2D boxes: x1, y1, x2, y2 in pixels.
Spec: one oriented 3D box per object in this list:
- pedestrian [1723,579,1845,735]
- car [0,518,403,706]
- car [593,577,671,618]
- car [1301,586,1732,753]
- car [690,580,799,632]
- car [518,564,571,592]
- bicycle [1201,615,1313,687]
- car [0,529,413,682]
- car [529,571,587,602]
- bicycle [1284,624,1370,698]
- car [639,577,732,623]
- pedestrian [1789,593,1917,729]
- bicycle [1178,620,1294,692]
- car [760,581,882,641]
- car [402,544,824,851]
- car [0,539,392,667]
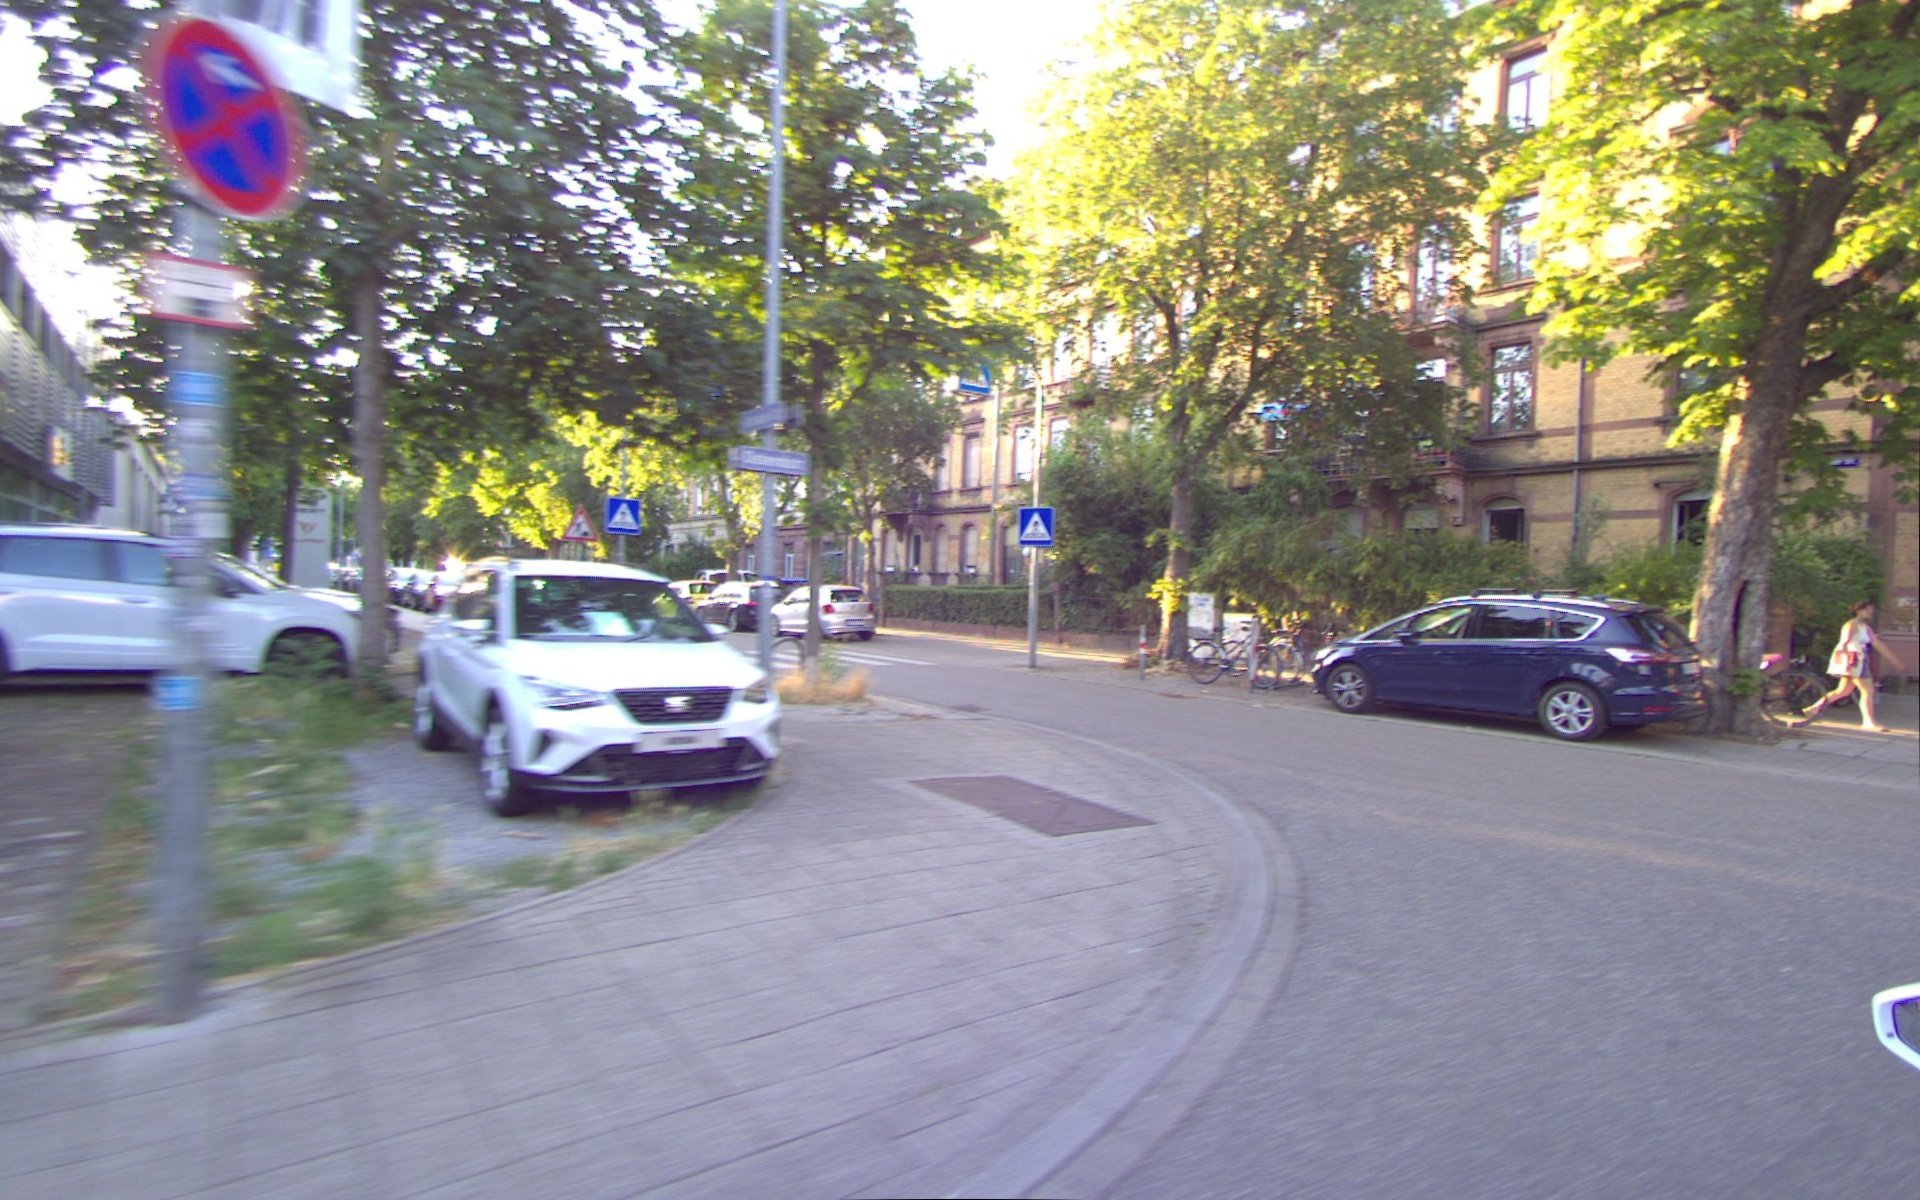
[{"bbox_3d":[10.405,0.692,12.722,0.991,1.859,0.687,3,1,27],"label":"pedestrian"},{"bbox_3d":[-8.379,0.097,10.184,4.551,1.665,1.852,1,1,-38],"label":"car"},{"bbox_3d":[-12.845,-0.123,39.220,1.604,1.461,4.058,0,2,-39],"label":"car"},{"bbox_3d":[6.980,0.719,13.090,1.855,1.710,4.542,0,1,-37],"label":"car"},{"bbox_3d":[-6.785,0.130,31.310,1.604,1.461,4.262,0,2,-39],"label":"car"},{"bbox_3d":[-22.357,-1.195,54.003,1.604,1.461,4.058,0,2,-39],"label":"car"},{"bbox_3d":[5.166,0.863,17.552,1.783,1.108,0.602,3,3,43],"label":"bicycle"},{"bbox_3d":[-9.531,0.058,12.506,4.551,1.638,1.852,1,1,-38],"label":"car"},{"bbox_3d":[-20.127,-0.671,50.237,1.604,1.461,4.058,0,2,-39],"label":"car"},{"bbox_3d":[6.021,0.972,16.427,0.598,1.051,1.796,3,3,45],"label":"bicycle"},{"bbox_3d":[-9.740,-0.038,35.459,1.604,1.461,4.262,0,2,-39],"label":"car"},{"bbox_3d":[11.564,0.763,13.046,1.033,1.652,0.687,3,1,27],"label":"pedestrian"},{"bbox_3d":[4.656,0.922,16.997,1.780,1.051,0.603,2,3,38],"label":"bicycle"},{"bbox_3d":[-3.855,0.242,27.428,1.604,1.461,3.711,-2,3,-40],"label":"car"},{"bbox_3d":[-2.726,0.472,7.276,1.752,1.593,3.860,2,1,-37],"label":"car"},{"bbox_3d":[-10.959,0.043,14.537,4.551,1.593,1.852,1,1,-38],"label":"car"}]
